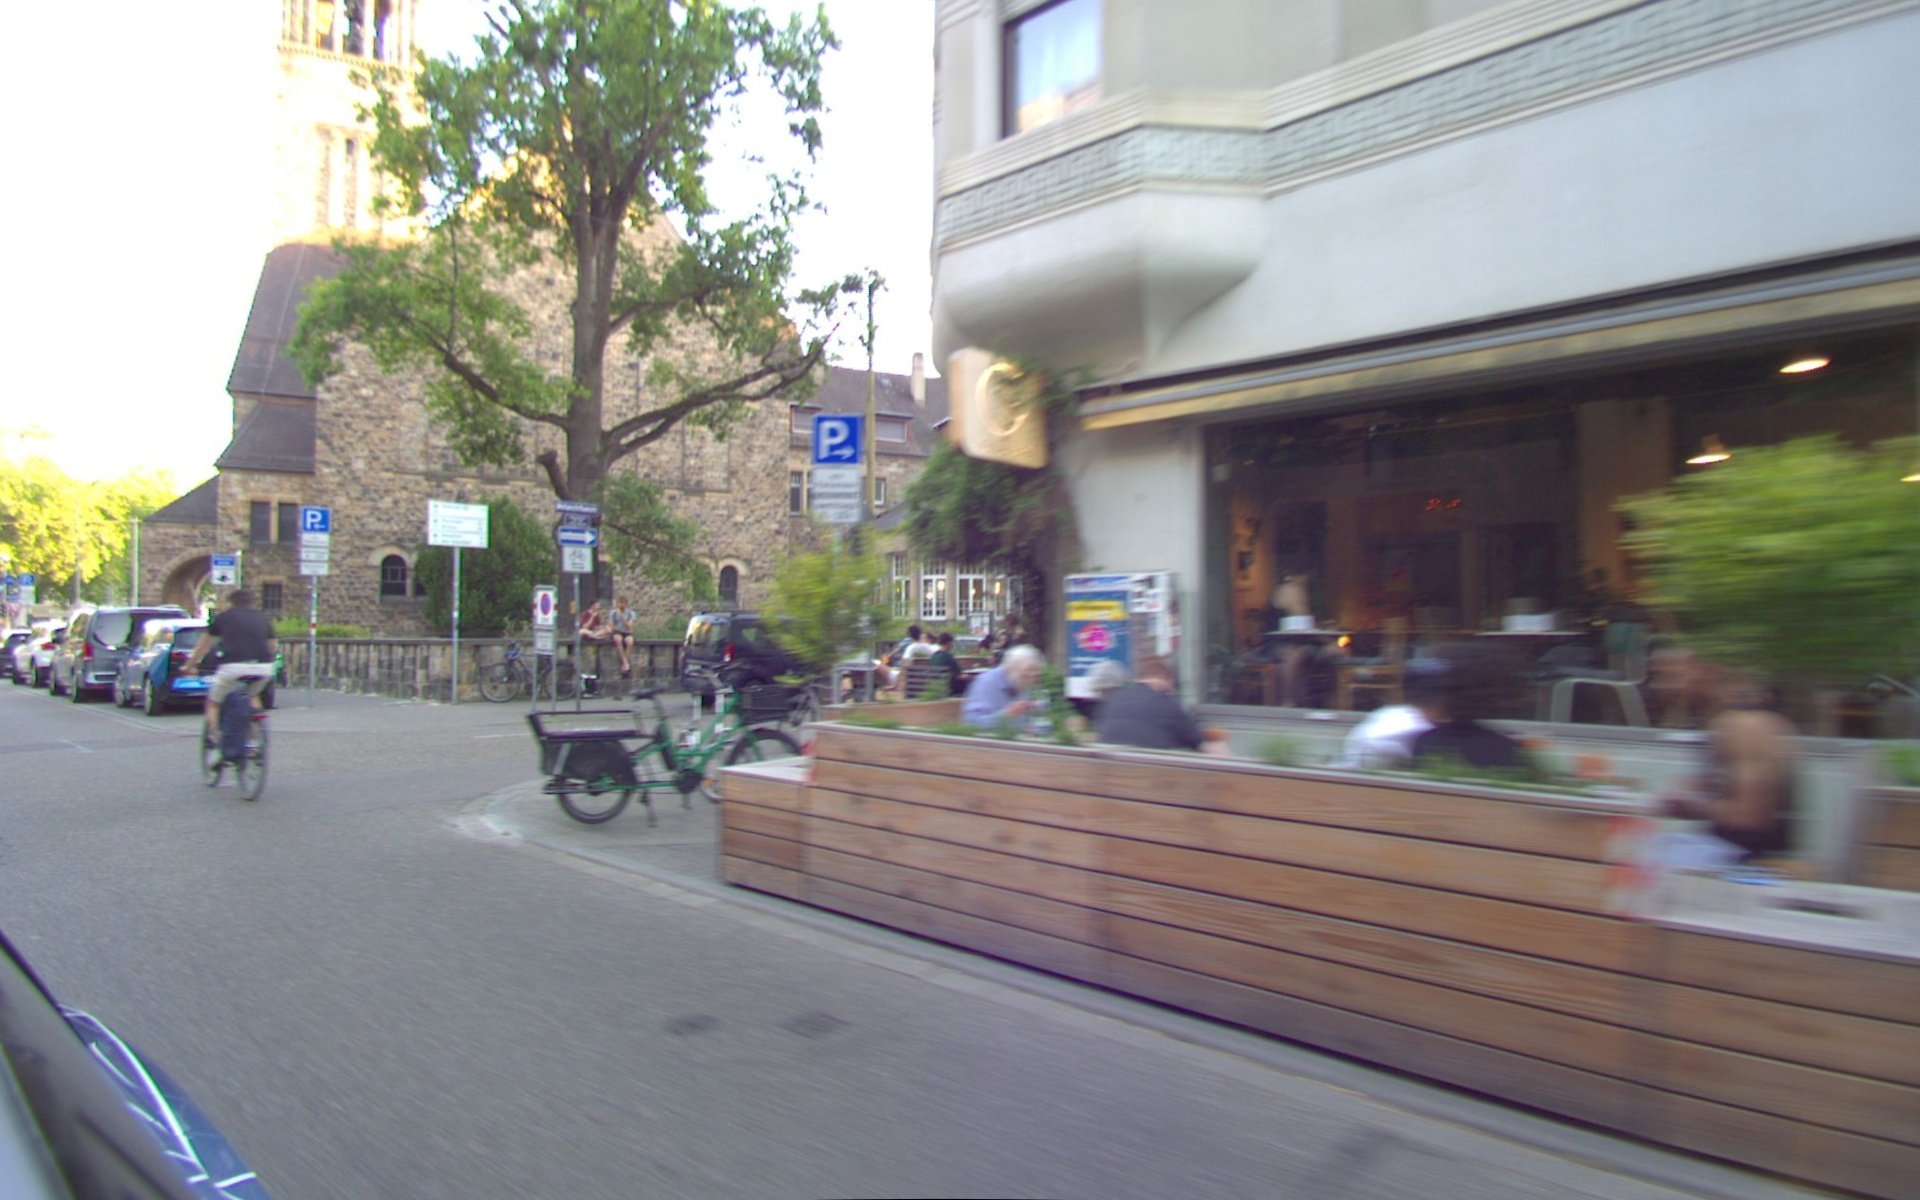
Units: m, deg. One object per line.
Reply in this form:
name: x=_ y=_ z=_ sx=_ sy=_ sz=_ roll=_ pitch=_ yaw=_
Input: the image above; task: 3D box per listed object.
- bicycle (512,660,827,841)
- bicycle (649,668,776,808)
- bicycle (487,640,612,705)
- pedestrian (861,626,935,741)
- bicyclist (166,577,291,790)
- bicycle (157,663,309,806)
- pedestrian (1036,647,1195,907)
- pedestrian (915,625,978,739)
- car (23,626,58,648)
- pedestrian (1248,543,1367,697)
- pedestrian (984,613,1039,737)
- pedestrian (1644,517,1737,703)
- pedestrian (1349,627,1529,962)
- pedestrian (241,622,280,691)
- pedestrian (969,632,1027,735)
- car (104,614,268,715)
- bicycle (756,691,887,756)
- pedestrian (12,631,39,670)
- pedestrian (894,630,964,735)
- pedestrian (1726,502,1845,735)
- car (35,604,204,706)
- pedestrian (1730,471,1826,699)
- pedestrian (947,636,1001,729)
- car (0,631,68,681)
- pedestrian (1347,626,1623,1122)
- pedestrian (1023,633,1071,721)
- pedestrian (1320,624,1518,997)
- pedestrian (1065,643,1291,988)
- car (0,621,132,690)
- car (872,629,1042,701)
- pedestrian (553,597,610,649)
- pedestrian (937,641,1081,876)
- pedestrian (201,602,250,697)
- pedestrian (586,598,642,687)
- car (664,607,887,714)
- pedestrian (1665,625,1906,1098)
bicycle: x=-2.030 y=1.003 z=7.169 sx=2.080 sy=1.103 sz=0.502 roll=0 pitch=-3 yaw=-25
bicycle: x=-2.100 y=1.094 z=8.439 sx=0.417 sy=1.020 sz=1.722 roll=1 pitch=-3 yaw=-35
bicycle: x=-7.606 y=1.316 z=18.841 sx=0.555 sy=1.142 sz=2.117 roll=-2 pitch=-3 yaw=41
pedestrian: x=-0.867 y=1.145 z=14.227 sx=0.783 sy=1.552 sz=0.694 roll=-2 pitch=-3 yaw=40
bicyclist: x=-6.282 y=0.683 z=8.682 sx=1.142 sy=1.697 sz=0.596 roll=-2 pitch=-3 yaw=41
bicycle: x=-6.221 y=1.082 z=8.617 sx=1.903 sy=1.048 sz=0.608 roll=-2 pitch=-3 yaw=41
pedestrian: x=0.875 y=0.939 z=5.712 sx=0.704 sy=1.335 sz=0.531 roll=-2 pitch=-2 yaw=41
pedestrian: x=-0.178 y=1.078 z=13.575 sx=0.644 sy=1.480 sz=0.566 roll=-2 pitch=-3 yaw=39
car: x=-84.836 y=3.418 z=93.375 sx=1.837 sy=2.029 sz=3.820 roll=2 pitch=-3 yaw=-34
pedestrian: x=2.785 y=0.164 z=8.121 sx=0.747 sy=1.162 sz=0.551 roll=-2 pitch=-2 yaw=40
pedestrian: x=0.699 y=1.008 z=13.737 sx=0.545 sy=1.633 sz=0.535 roll=-2 pitch=-3 yaw=40
pedestrian: x=5.720 y=0.082 z=7.928 sx=0.518 sy=1.394 sz=0.533 roll=-2 pitch=-2 yaw=41
pedestrian: x=2.132 y=0.802 z=4.512 sx=0.610 sy=1.360 sz=0.463 roll=-2 pitch=-2 yaw=40
pedestrian: x=-14.753 y=1.176 z=21.337 sx=0.659 sy=1.416 sz=0.526 roll=-2 pitch=-2 yaw=41
pedestrian: x=0.557 y=1.197 z=14.740 sx=0.644 sy=1.454 sz=0.566 roll=-2 pitch=-3 yaw=41
car: x=-13.590 y=1.080 z=17.694 sx=4.004 sy=1.567 sz=1.622 roll=-2 pitch=-3 yaw=43
bicycle: x=-1.663 y=1.440 z=11.982 sx=1.777 sy=0.701 sz=0.419 roll=-4 pitch=-4 yaw=38
pedestrian: x=-41.851 y=2.254 z=45.319 sx=0.689 sy=1.738 sz=0.708 roll=-1 pitch=-3 yaw=31
pedestrian: x=-0.454 y=1.191 z=14.883 sx=0.783 sy=1.480 sz=0.694 roll=-2 pitch=-3 yaw=40
pedestrian: x=5.110 y=0.115 z=6.265 sx=0.518 sy=1.360 sz=0.533 roll=-2 pitch=-2 yaw=41
car: x=-17.637 y=1.102 z=21.135 sx=5.288 sy=1.881 sz=1.972 roll=-2 pitch=-3 yaw=42
pedestrian: x=6.281 y=-0.104 z=7.772 sx=0.518 sy=1.667 sz=0.533 roll=-2 pitch=-2 yaw=41
pedestrian: x=0.219 y=1.279 z=15.920 sx=0.644 sy=1.422 sz=0.566 roll=-2 pitch=-3 yaw=41
car: x=-28.865 y=1.675 z=31.051 sx=4.315 sy=1.446 sz=1.764 roll=-2 pitch=-3 yaw=42
pedestrian: x=1.653 y=0.766 z=3.200 sx=0.668 sy=1.360 sz=0.479 roll=-2 pitch=-2 yaw=40
pedestrian: x=1.491 y=1.304 z=17.352 sx=0.573 sy=1.458 sz=0.636 roll=-2 pitch=-3 yaw=40
pedestrian: x=1.850 y=0.780 z=4.087 sx=0.610 sy=1.360 sz=0.463 roll=-2 pitch=-2 yaw=40
pedestrian: x=0.956 y=0.862 z=4.457 sx=0.770 sy=1.335 sz=0.603 roll=-2 pitch=-2 yaw=40
car: x=-22.891 y=1.377 z=25.826 sx=4.464 sy=1.604 sz=1.852 roll=-2 pitch=-3 yaw=39
car: x=0.019 y=1.459 z=23.687 sx=1.720 sy=1.511 sz=4.157 roll=-2 pitch=-3 yaw=40
pedestrian: x=-7.377 y=0.462 z=19.718 sx=0.836 sy=0.988 sz=0.699 roll=-2 pitch=-3 yaw=39
pedestrian: x=0.298 y=0.923 z=6.238 sx=0.704 sy=1.335 sz=0.531 roll=-2 pitch=-2 yaw=41
pedestrian: x=-15.098 y=1.009 z=20.814 sx=0.802 sy=1.920 sz=0.576 roll=-2 pitch=-3 yaw=38
pedestrian: x=-6.932 y=0.842 z=20.270 sx=0.836 sy=1.734 sz=0.699 roll=-2 pitch=-3 yaw=39
car: x=-3.526 y=1.141 z=19.830 sx=1.891 sy=1.858 sz=3.942 roll=-2 pitch=-3 yaw=44
pedestrian: x=2.660 y=0.763 z=3.300 sx=0.539 sy=1.360 sz=0.512 roll=-2 pitch=-2 yaw=38
